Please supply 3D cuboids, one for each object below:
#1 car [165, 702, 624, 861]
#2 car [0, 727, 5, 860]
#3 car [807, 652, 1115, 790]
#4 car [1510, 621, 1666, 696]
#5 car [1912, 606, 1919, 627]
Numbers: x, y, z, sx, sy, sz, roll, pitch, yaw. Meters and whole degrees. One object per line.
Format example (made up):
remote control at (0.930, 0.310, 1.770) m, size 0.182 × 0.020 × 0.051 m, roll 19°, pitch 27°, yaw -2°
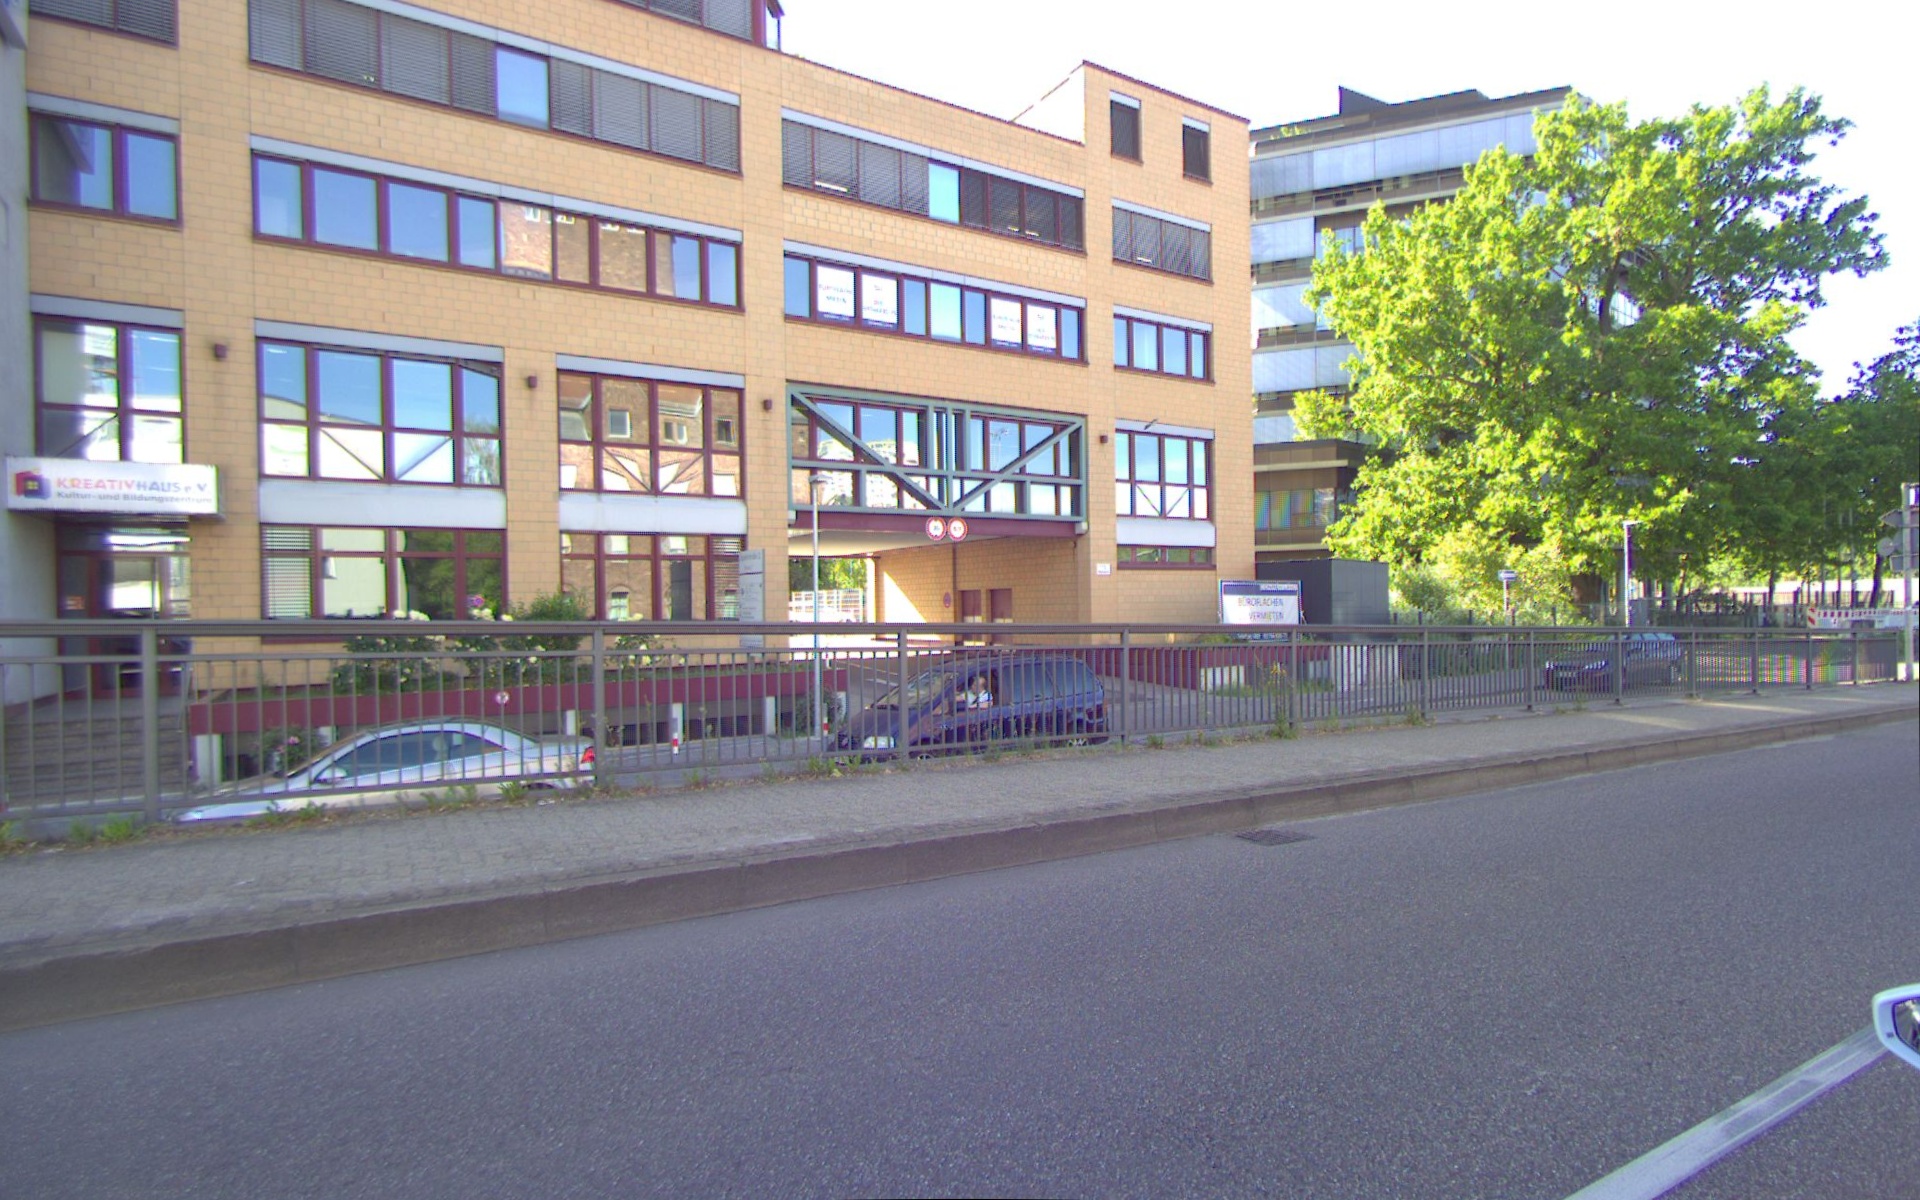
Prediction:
car at (-6.133, 1.897, 11.301) m, size 4.210 × 1.181 × 1.713 m, roll 0°, pitch -2°, yaw -32°
car at (-10.652, 1.875, 8.269) m, size 3.766 × 1.286 × 1.567 m, roll 0°, pitch -2°, yaw -32°
car at (0.113, 1.696, 15.244) m, size 4.541 × 1.669 × 1.710 m, roll 0°, pitch -2°, yaw -35°
car at (16.437, 1.465, 26.266) m, size 3.953 × 1.715 × 1.843 m, roll -1°, pitch 0°, yaw -30°
car at (67.731, 1.129, 68.950) m, size 1.709 × 1.517 × 4.002 m, roll 1°, pitch -1°, yaw 14°
